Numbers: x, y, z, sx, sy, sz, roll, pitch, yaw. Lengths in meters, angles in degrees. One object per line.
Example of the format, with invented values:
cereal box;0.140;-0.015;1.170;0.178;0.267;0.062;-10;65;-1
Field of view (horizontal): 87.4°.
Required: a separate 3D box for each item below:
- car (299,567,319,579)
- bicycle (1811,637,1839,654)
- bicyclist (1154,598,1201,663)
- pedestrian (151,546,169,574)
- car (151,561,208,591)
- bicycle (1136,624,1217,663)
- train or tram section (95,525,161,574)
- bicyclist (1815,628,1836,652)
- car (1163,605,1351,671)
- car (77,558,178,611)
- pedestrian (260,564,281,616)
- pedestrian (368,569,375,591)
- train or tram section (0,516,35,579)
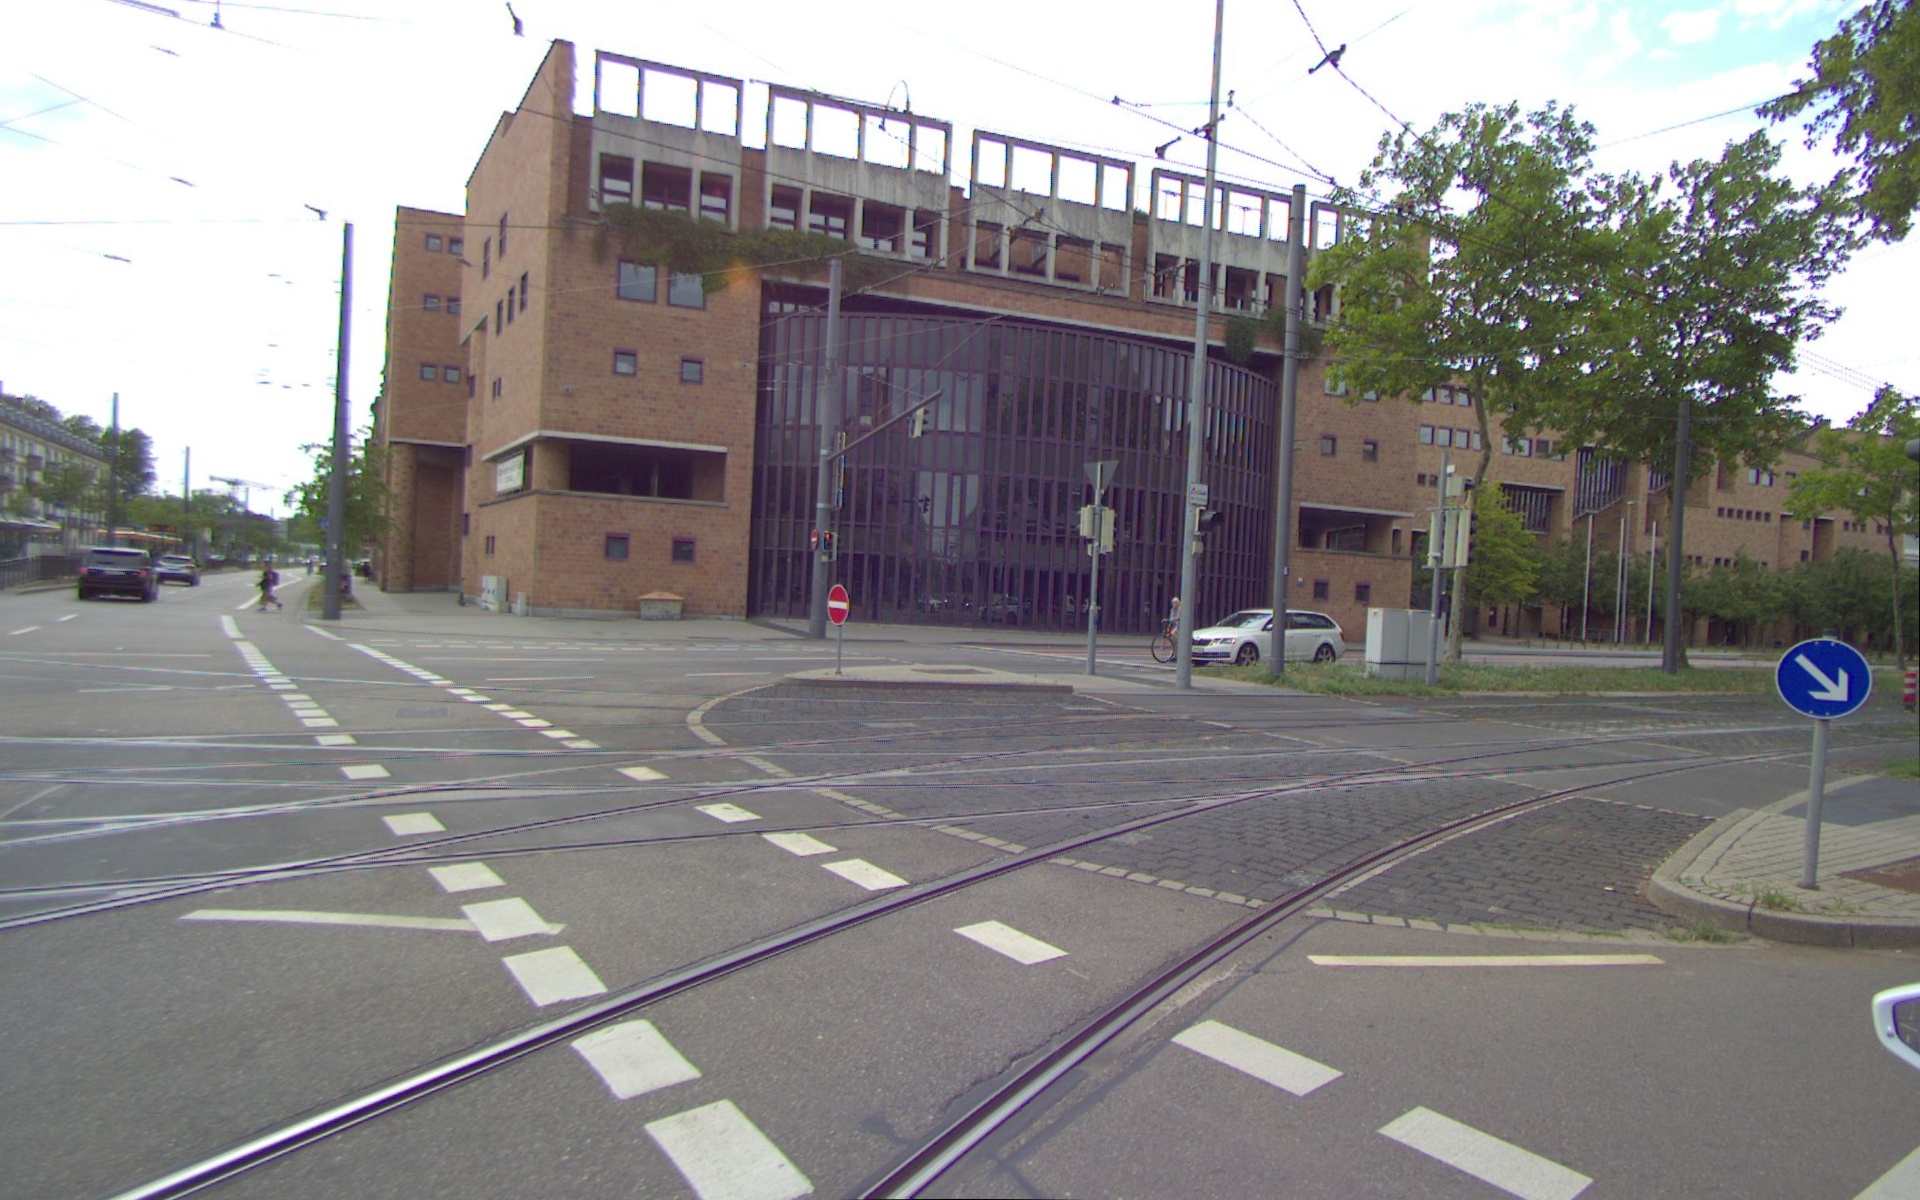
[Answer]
car;-73.070;-3.042;112.838;1.677;1.311;3.967;3;0;-31
bicycle;59.217;3.104;68.730;2.066;1.099;0.665;2;1;-27
bicyclist;5.644;0.795;26.052;0.891;1.631;0.719;2;1;-30
pedestrian;-59.897;-3.022;75.223;0.771;2.040;1.220;2;1;-30
car;-42.220;-1.288;54.424;1.913;1.451;4.266;3;0;-31
bicycle;5.614;1.129;26.039;2.099;0.929;0.726;2;1;-31
train or tram section;-64.752;-3.863;78.377;2.424;3.496;9.527;2;0;-31
bicyclist;59.218;2.727;68.718;0.971;1.612;0.661;2;1;-27
car;7.362;0.943;24.740;4.605;1.440;1.774;3;1;-31
car;-28.492;-0.552;34.538;1.912;1.629;4.494;3;0;-31
pedestrian;-23.384;-0.344;34.050;0.454;1.732;0.479;3;0;-27
pedestrian;-48.616;-1.639;82.931;0.428;1.732;0.527;3;0;-34
train or tram section;-55.656;-3.039;57.377;2.548;3.496;7.558;2;0;-31
